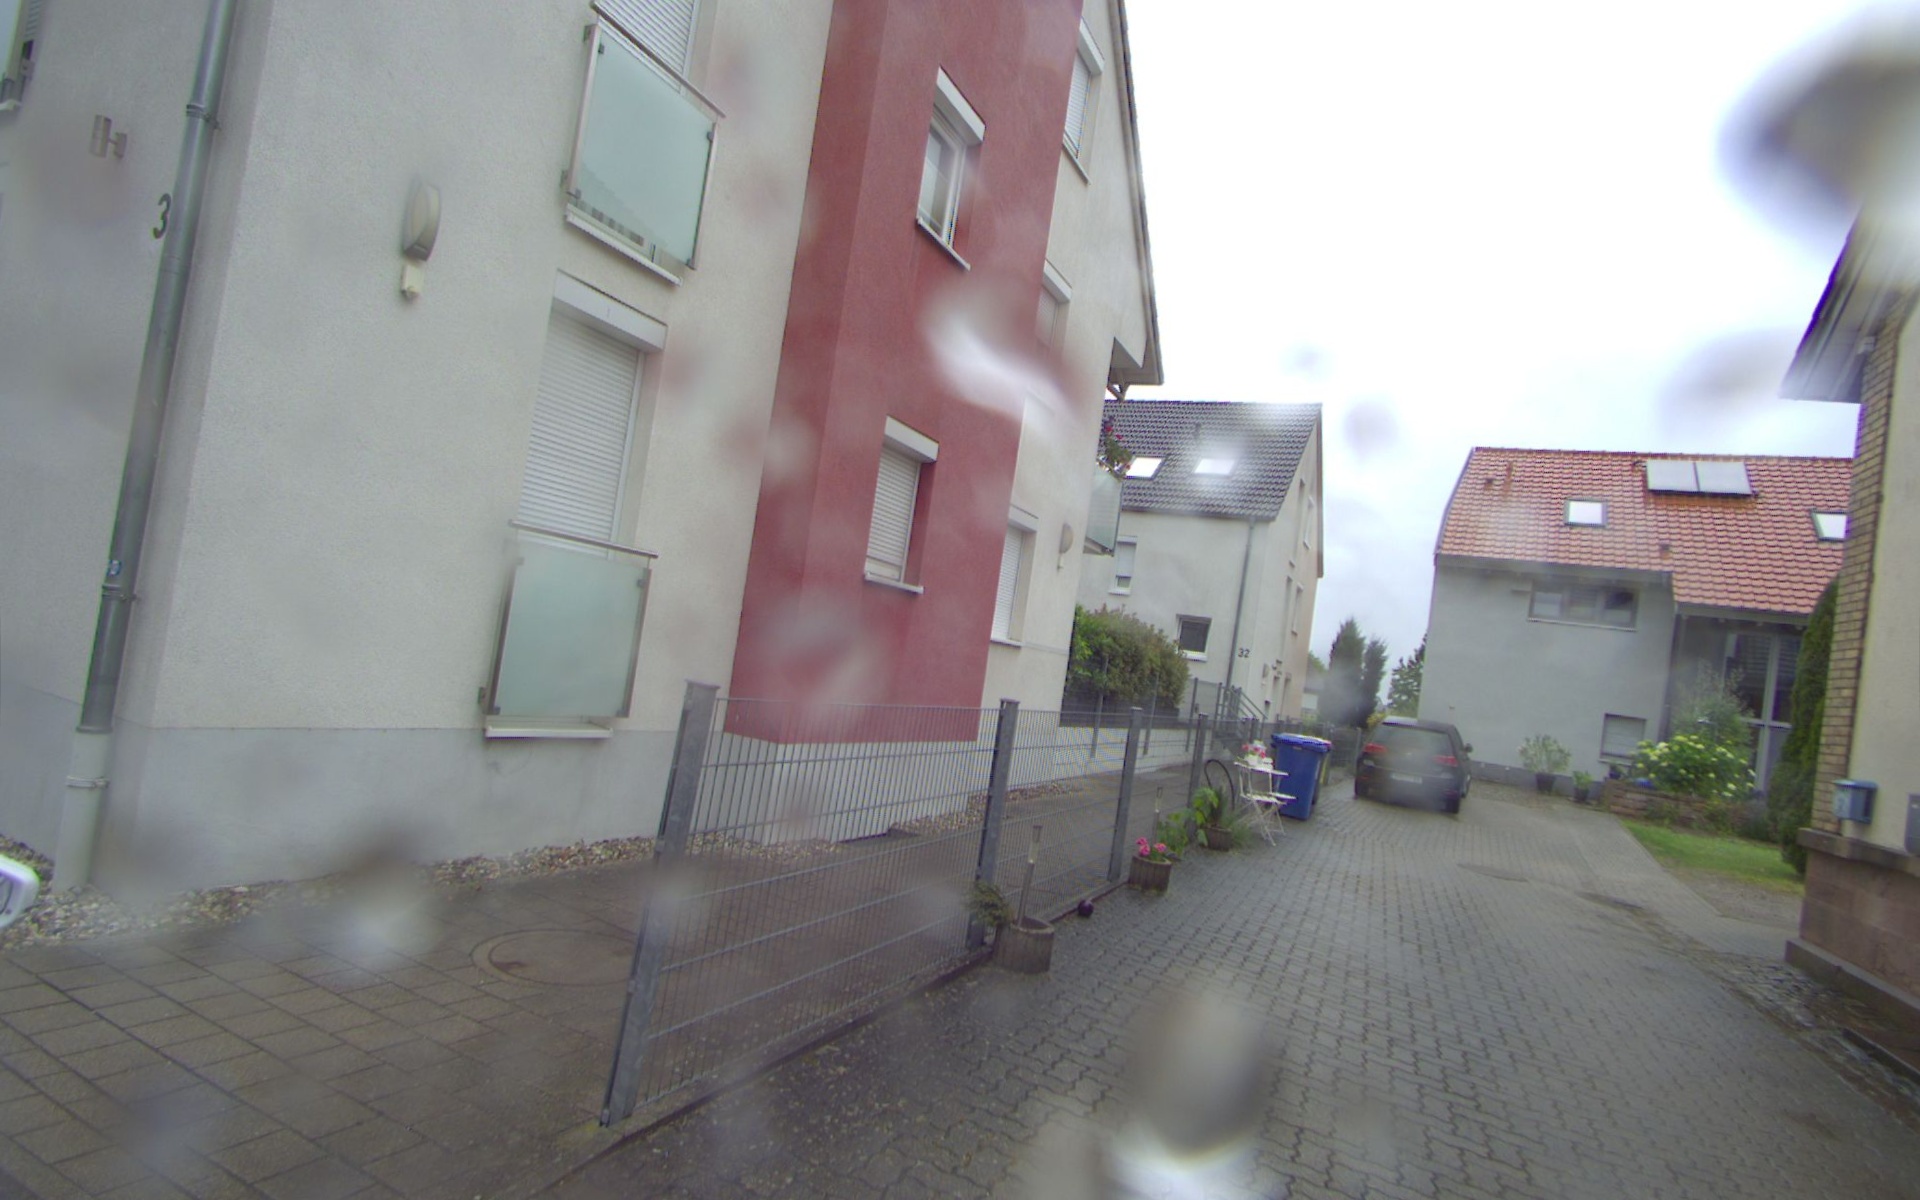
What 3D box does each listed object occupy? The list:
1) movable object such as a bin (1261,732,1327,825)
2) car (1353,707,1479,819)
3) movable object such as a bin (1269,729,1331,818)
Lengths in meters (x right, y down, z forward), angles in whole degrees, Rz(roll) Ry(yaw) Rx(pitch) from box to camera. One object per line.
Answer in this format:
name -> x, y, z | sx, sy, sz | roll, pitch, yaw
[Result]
movable object such as a bin -> 4.487, 2.377, 13.497 | 0.675, 1.108, 0.536 | 7, -2, 25
car -> 8.556, 2.916, 18.700 | 1.656, 1.491, 3.993 | 7, 0, 30
movable object such as a bin -> 4.822, 2.441, 14.259 | 0.675, 1.108, 0.536 | 7, -2, 25
